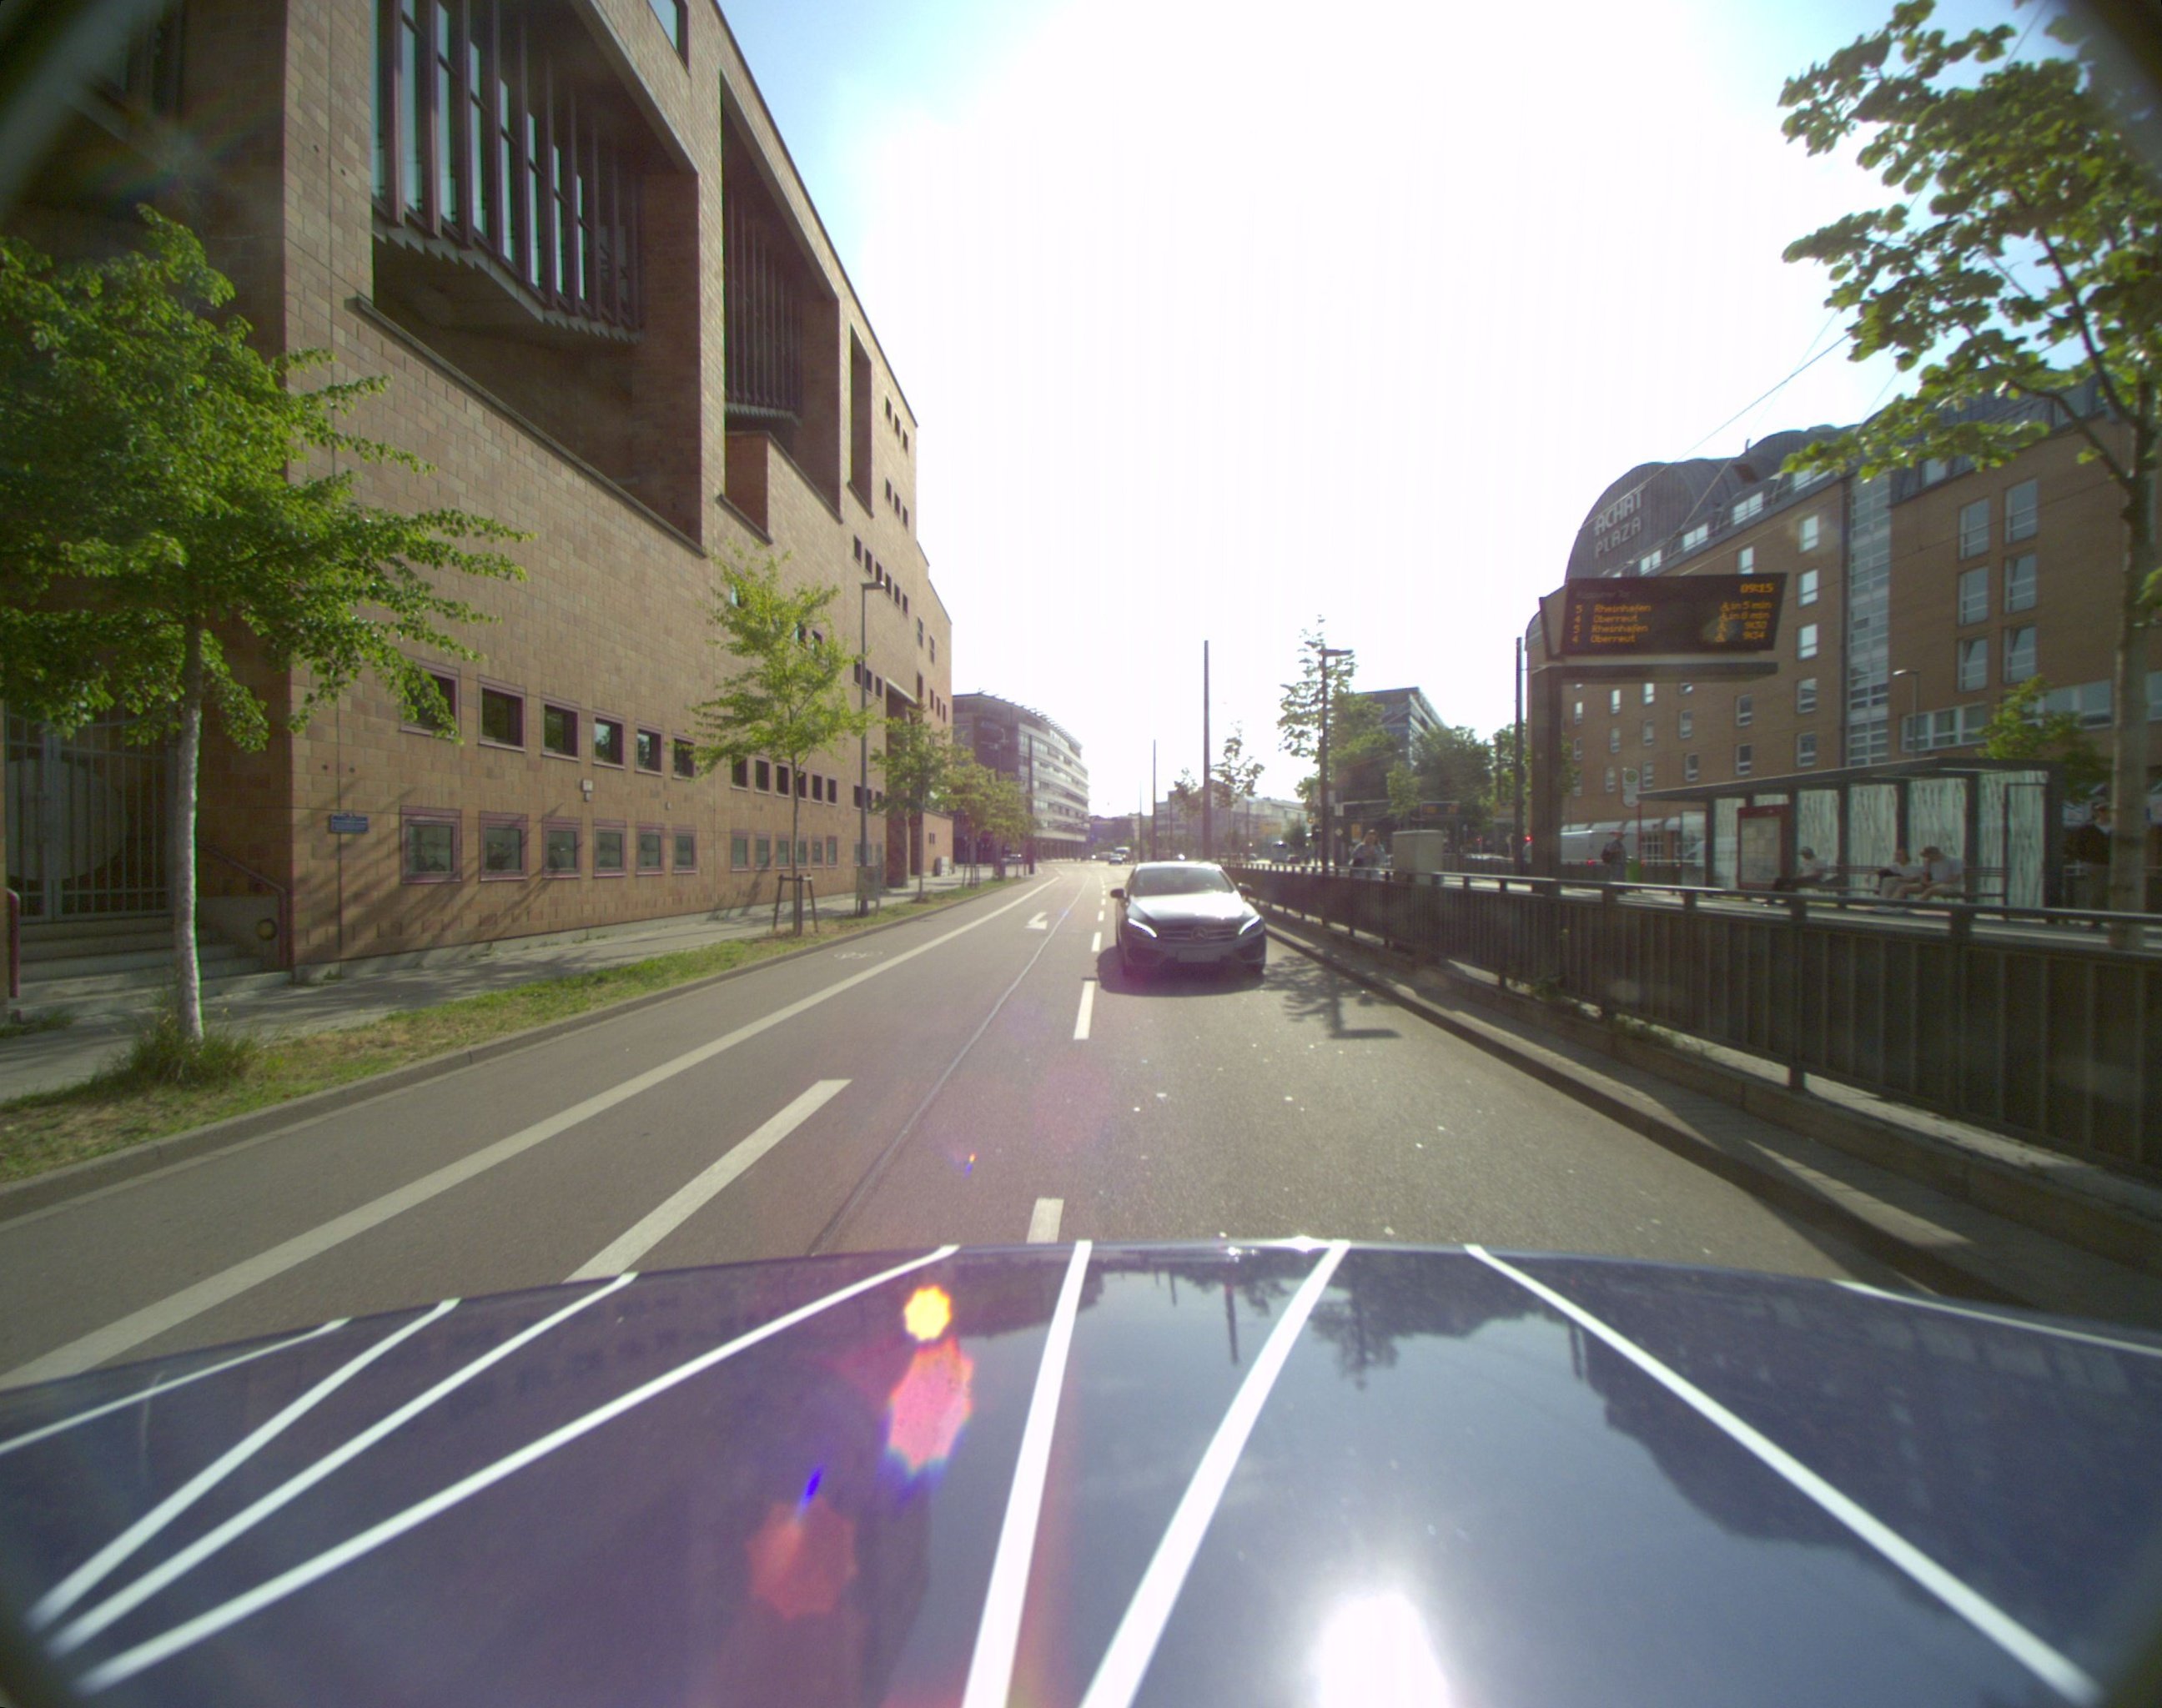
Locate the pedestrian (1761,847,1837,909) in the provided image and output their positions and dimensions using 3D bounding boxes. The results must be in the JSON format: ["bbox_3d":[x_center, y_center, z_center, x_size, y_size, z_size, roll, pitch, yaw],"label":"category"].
[{"bbox_3d":[15.568,0.506,16.494,0.871,1.306,0.808,0,1,0],"label":"pedestrian"}]

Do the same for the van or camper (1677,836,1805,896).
[{"bbox_3d":[33.115,0.548,38.392,1.998,2.786,5.353,0,1,3],"label":"van or camper"}]

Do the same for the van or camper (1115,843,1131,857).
[{"bbox_3d":[6.644,-0.582,120.121,1.931,2.198,3.990,0,1,13],"label":"van or camper"}]

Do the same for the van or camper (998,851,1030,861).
[{"bbox_3d":[-9.434,0.255,106.950,3.994,1.305,1.929,0,1,-39],"label":"van or camper"}]

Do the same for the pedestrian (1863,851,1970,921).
[{"bbox_3d":[15.222,0.573,13.872,1.156,1.238,0.675,1,1,2],"label":"pedestrian"}]

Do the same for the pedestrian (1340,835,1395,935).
[{"bbox_3d":[5.206,0.541,13.827,0.675,1.747,0.727,-3,1,2],"label":"pedestrian"}]

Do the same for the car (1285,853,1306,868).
[{"bbox_3d":[30.495,0.874,108.116,1.998,2.002,4.001,0,1,5],"label":"car"}]

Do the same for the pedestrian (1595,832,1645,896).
[{"bbox_3d":[15.015,0.271,21.170,0.786,1.736,0.833,1,1,-34],"label":"pedestrian"}]

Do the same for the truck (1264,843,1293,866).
[{"bbox_3d":[34.454,-0.005,133.090,3.167,3.755,12.364,0,1,6],"label":"truck"}]

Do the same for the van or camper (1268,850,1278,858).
[{"bbox_3d":[44.289,-0.049,175.337,1.925,1.691,4.005,1,1,17],"label":"van or camper"}]

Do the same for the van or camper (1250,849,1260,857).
[{"bbox_3d":[35.764,-0.186,155.992,1.843,1.543,4.004,0,1,13],"label":"van or camper"}]

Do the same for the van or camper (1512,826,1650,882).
[{"bbox_3d":[19.498,-0.015,30.031,2.087,2.002,5.342,1,0,2],"label":"van or camper"}]

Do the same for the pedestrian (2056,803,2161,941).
[{"bbox_3d":[14.698,0.244,10.820,0.555,1.875,0.806,0,1,-11],"label":"pedestrian"}]

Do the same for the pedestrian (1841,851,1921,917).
[{"bbox_3d":[15.388,0.564,14.629,0.793,1.238,0.675,1,1,2],"label":"pedestrian"}]

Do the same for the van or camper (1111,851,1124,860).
[{"bbox_3d":[5.228,0.242,109.276,1.933,1.305,3.986,0,1,2],"label":"van or camper"}]

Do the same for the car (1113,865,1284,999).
[{"bbox_3d":[1.423,0.920,10.757,1.906,1.384,4.236,-1,1,2],"label":"car"}]

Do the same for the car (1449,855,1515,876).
[{"bbox_3d":[19.737,0.537,37.551,1.549,0.965,3.488,1,0,3],"label":"car"}]

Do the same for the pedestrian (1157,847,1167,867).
[{"bbox_3d":[6.453,0.229,60.534,0.582,1.624,0.645,0,1,-32],"label":"pedestrian"}]

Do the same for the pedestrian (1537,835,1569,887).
[{"bbox_3d":[16.494,0.229,26.538,0.652,1.750,0.698,-3,1,4],"label":"pedestrian"}]
